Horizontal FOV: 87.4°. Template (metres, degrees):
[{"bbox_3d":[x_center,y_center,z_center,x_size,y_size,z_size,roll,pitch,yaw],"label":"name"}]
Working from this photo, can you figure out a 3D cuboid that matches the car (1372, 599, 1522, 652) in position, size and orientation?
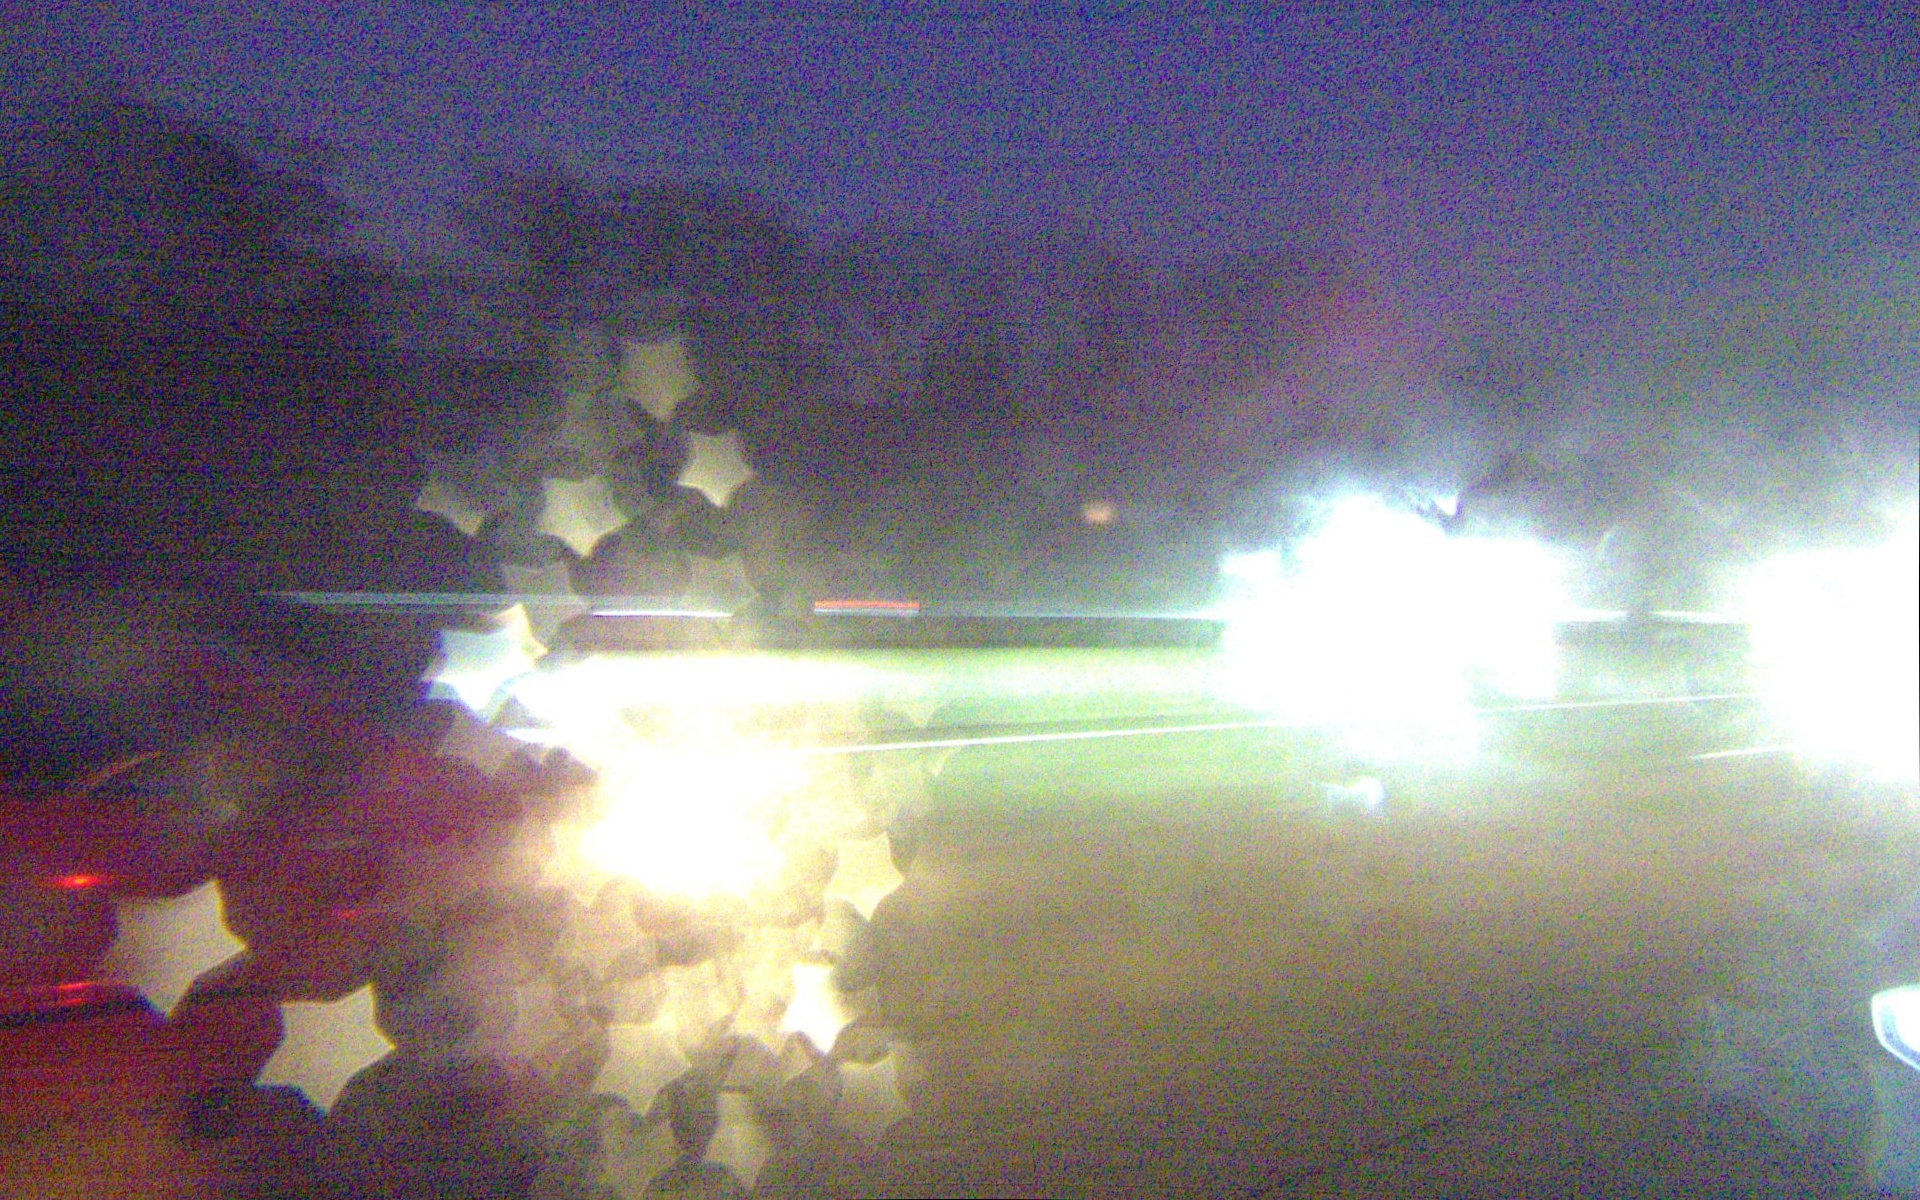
[{"bbox_3d":[15.694,0.818,32.342,4.841,1.484,1.962,1,2,-31],"label":"car"}]

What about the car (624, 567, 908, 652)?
[{"bbox_3d":[-3.857,0.197,20.330,5.307,1.484,1.962,1,2,-31],"label":"car"}]

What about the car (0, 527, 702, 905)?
[{"bbox_3d":[-4.244,0.552,6.097,4.829,1.801,1.984,1,1,-30],"label":"car"}]

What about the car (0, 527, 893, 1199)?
[{"bbox_3d":[-2.513,0.638,3.175,4.184,1.616,1.906,1,0,-30],"label":"car"}]

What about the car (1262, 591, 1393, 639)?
[{"bbox_3d":[12.662,0.532,34.543,4.246,1.484,1.871,1,2,-29],"label":"car"}]
